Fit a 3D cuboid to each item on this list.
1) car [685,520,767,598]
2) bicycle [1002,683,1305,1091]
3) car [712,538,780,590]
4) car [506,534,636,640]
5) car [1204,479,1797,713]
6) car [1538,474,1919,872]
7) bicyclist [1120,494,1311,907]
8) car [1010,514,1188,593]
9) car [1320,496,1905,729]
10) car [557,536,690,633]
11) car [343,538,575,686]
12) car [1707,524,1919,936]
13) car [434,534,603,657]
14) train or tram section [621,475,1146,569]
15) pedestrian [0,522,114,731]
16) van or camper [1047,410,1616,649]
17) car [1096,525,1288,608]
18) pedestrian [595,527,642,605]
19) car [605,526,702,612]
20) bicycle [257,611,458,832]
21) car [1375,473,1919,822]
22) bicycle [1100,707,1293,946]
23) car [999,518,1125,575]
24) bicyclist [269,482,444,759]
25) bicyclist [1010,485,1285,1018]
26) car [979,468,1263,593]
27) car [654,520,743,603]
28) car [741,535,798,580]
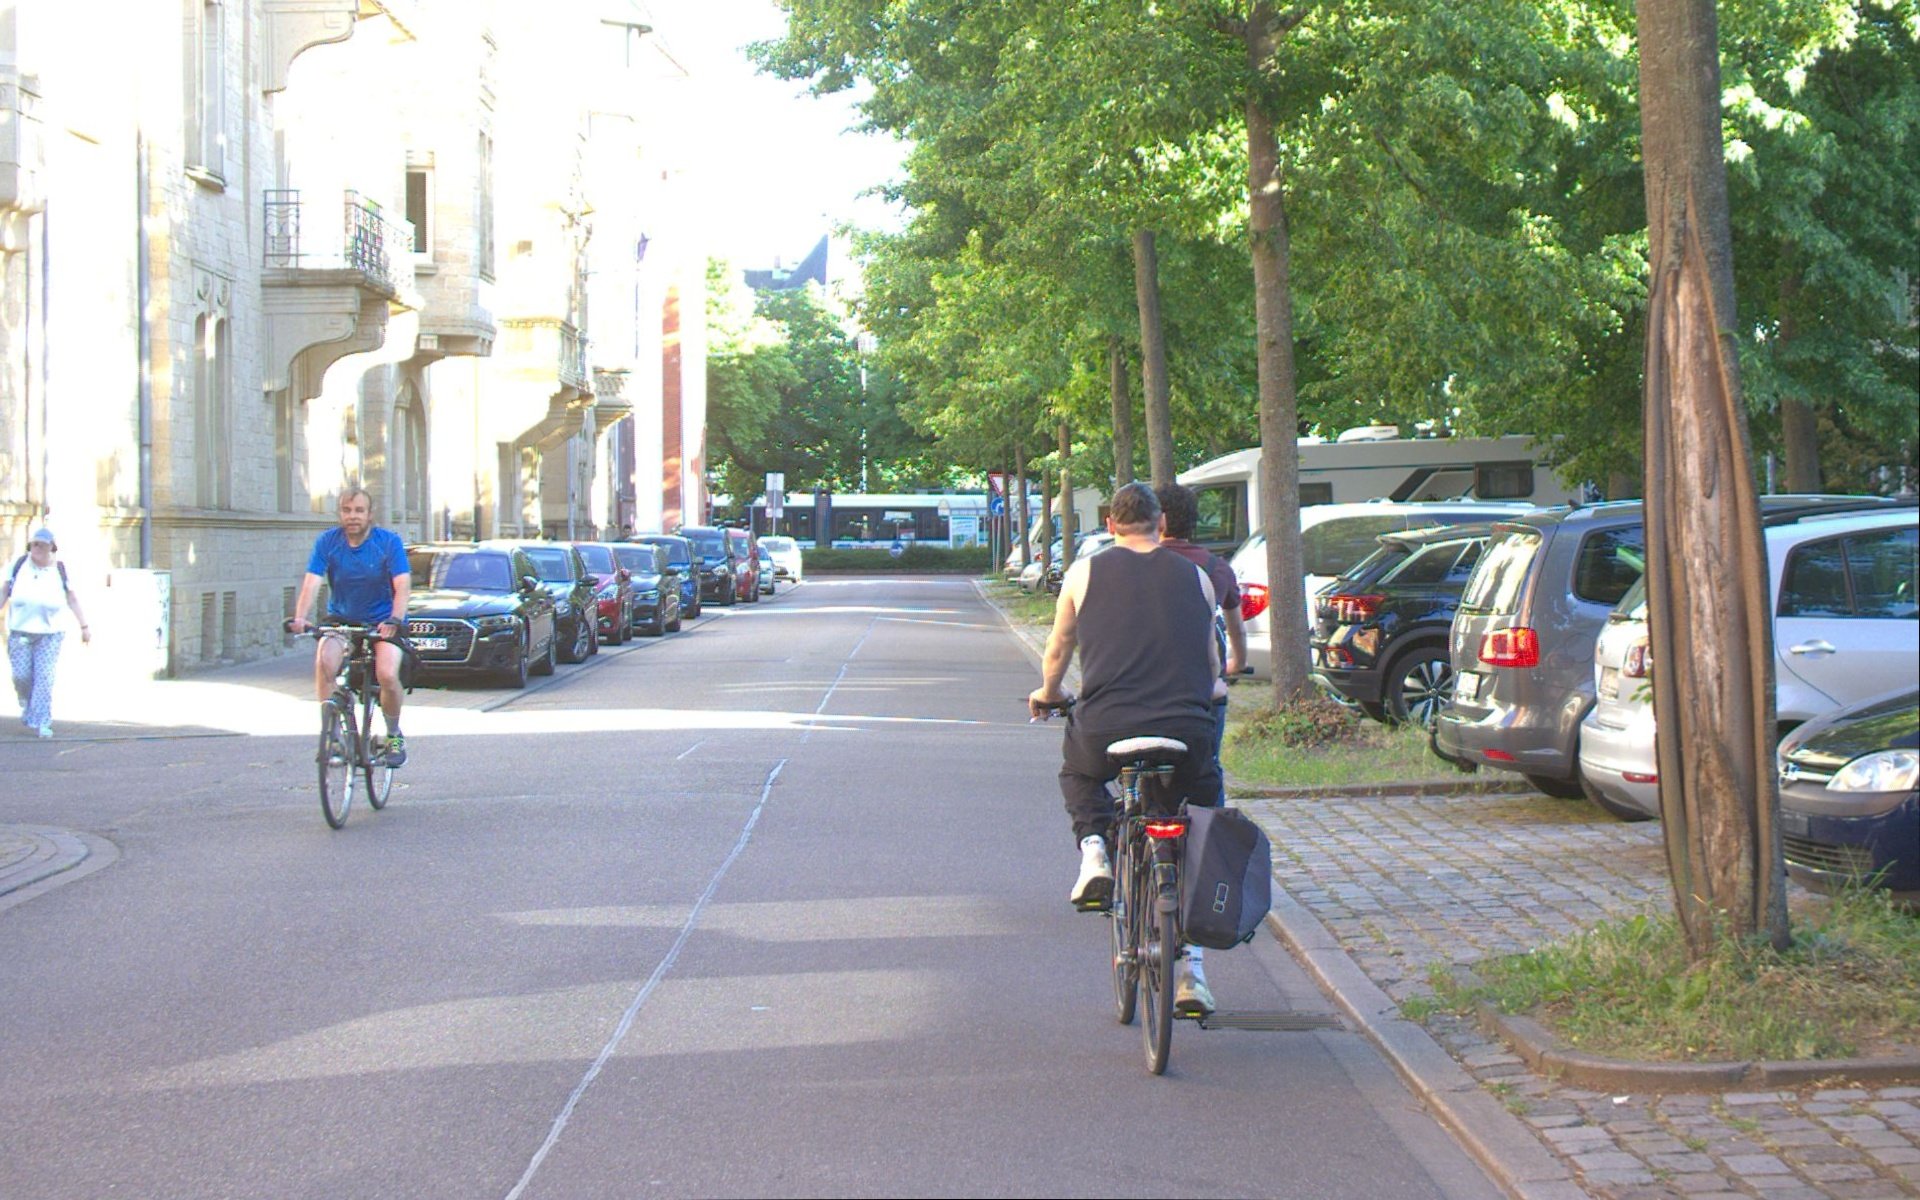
[{"bbox_3d":[-5.781,-1.045,85.228,1.689,1.819,4.273,2,2,0],"label":"car"},{"bbox_3d":[0.548,0.820,10.501,0.737,1.050,1.956,2,0,-2],"label":"bicycle"},{"bbox_3d":[-5.967,-1.019,96.240,1.583,1.339,4.131,2,2,0],"label":"car"},{"bbox_3d":[-5.635,-0.218,50.068,1.628,1.448,3.838,1,1,-3],"label":"car"},{"bbox_3d":[4.425,-0.050,28.668,4.619,1.704,1.833,-2,1,1],"label":"car"},{"bbox_3d":[4.916,0.214,15.588,4.273,1.628,1.690,-3,1,3],"label":"car"},{"bbox_3d":[1.033,0.388,14.078,0.689,1.621,0.998,-1,1,0],"label":"bicyclist"},{"bbox_3d":[3.343,-1.127,82.990,4.082,1.644,1.641,-3,1,-2],"label":"car"},{"bbox_3d":[4.891,0.066,26.154,4.068,1.471,1.694,-3,2,1],"label":"car"},{"bbox_3d":[-5.438,-0.284,55.964,1.675,1.425,4.551,2,2,0],"label":"car"},{"bbox_3d":[-5.325,0.090,37.093,1.811,1.422,4.898,2,1,-1],"label":"car"},{"bbox_3d":[4.965,0.369,13.308,3.721,1.448,1.589,-3,1,0],"label":"car"},{"bbox_3d":[-5.395,-0.070,42.395,1.696,1.448,4.028,0,0,-2],"label":"car"},{"bbox_3d":[-3.286,-3.480,156.134,23.799,3.696,4.287,1,0,-22],"label":"train or tram section"},{"bbox_3d":[-7.202,0.195,26.838,0.888,1.571,1.053,-2,2,0],"label":"pedestrian"},{"bbox_3d":[4.801,-0.936,45.373,7.147,2.638,2.464,-3,1,2],"label":"van or camper"},{"bbox_3d":[4.674,-0.672,69.653,3.773,1.594,1.691,-1,-1,2],"label":"car"},{"bbox_3d":[-7.707,-0.778,77.647,0.938,1.736,0.735,1,0,1],"label":"pedestrian"},{"bbox_3d":[-5.769,-0.597,64.989,1.595,1.484,2.737,3,2,-2],"label":"car"},{"bbox_3d":[-3.249,0.631,18.686,0.757,1.104,1.907,-1,0,-1],"label":"bicycle"},{"bbox_3d":[4.724,0.162,18.605,4.538,1.628,1.813,-4,1,-6],"label":"car"},{"bbox_3d":[0.935,0.887,13.950,0.633,0.796,1.833,-1,1,-1],"label":"bicycle"},{"bbox_3d":[3.325,-1.747,112.651,3.986,1.797,1.834,1,0,-2],"label":"car"},{"bbox_3d":[-3.262,0.102,18.653,0.759,1.449,0.949,-1,0,-1],"label":"bicyclist"},{"bbox_3d":[0.556,0.441,10.520,0.730,1.542,0.884,2,0,-2],"label":"bicyclist"},{"bbox_3d":[4.192,-1.825,90.369,7.146,2.968,2.465,-2,1,-3],"label":"car"},{"bbox_3d":[-5.931,-0.903,78.396,1.640,1.777,4.354,2,2,0],"label":"car"},{"bbox_3d":[-6.296,-1.412,113.913,1.583,1.371,4.131,2,2,0],"label":"car"}]
